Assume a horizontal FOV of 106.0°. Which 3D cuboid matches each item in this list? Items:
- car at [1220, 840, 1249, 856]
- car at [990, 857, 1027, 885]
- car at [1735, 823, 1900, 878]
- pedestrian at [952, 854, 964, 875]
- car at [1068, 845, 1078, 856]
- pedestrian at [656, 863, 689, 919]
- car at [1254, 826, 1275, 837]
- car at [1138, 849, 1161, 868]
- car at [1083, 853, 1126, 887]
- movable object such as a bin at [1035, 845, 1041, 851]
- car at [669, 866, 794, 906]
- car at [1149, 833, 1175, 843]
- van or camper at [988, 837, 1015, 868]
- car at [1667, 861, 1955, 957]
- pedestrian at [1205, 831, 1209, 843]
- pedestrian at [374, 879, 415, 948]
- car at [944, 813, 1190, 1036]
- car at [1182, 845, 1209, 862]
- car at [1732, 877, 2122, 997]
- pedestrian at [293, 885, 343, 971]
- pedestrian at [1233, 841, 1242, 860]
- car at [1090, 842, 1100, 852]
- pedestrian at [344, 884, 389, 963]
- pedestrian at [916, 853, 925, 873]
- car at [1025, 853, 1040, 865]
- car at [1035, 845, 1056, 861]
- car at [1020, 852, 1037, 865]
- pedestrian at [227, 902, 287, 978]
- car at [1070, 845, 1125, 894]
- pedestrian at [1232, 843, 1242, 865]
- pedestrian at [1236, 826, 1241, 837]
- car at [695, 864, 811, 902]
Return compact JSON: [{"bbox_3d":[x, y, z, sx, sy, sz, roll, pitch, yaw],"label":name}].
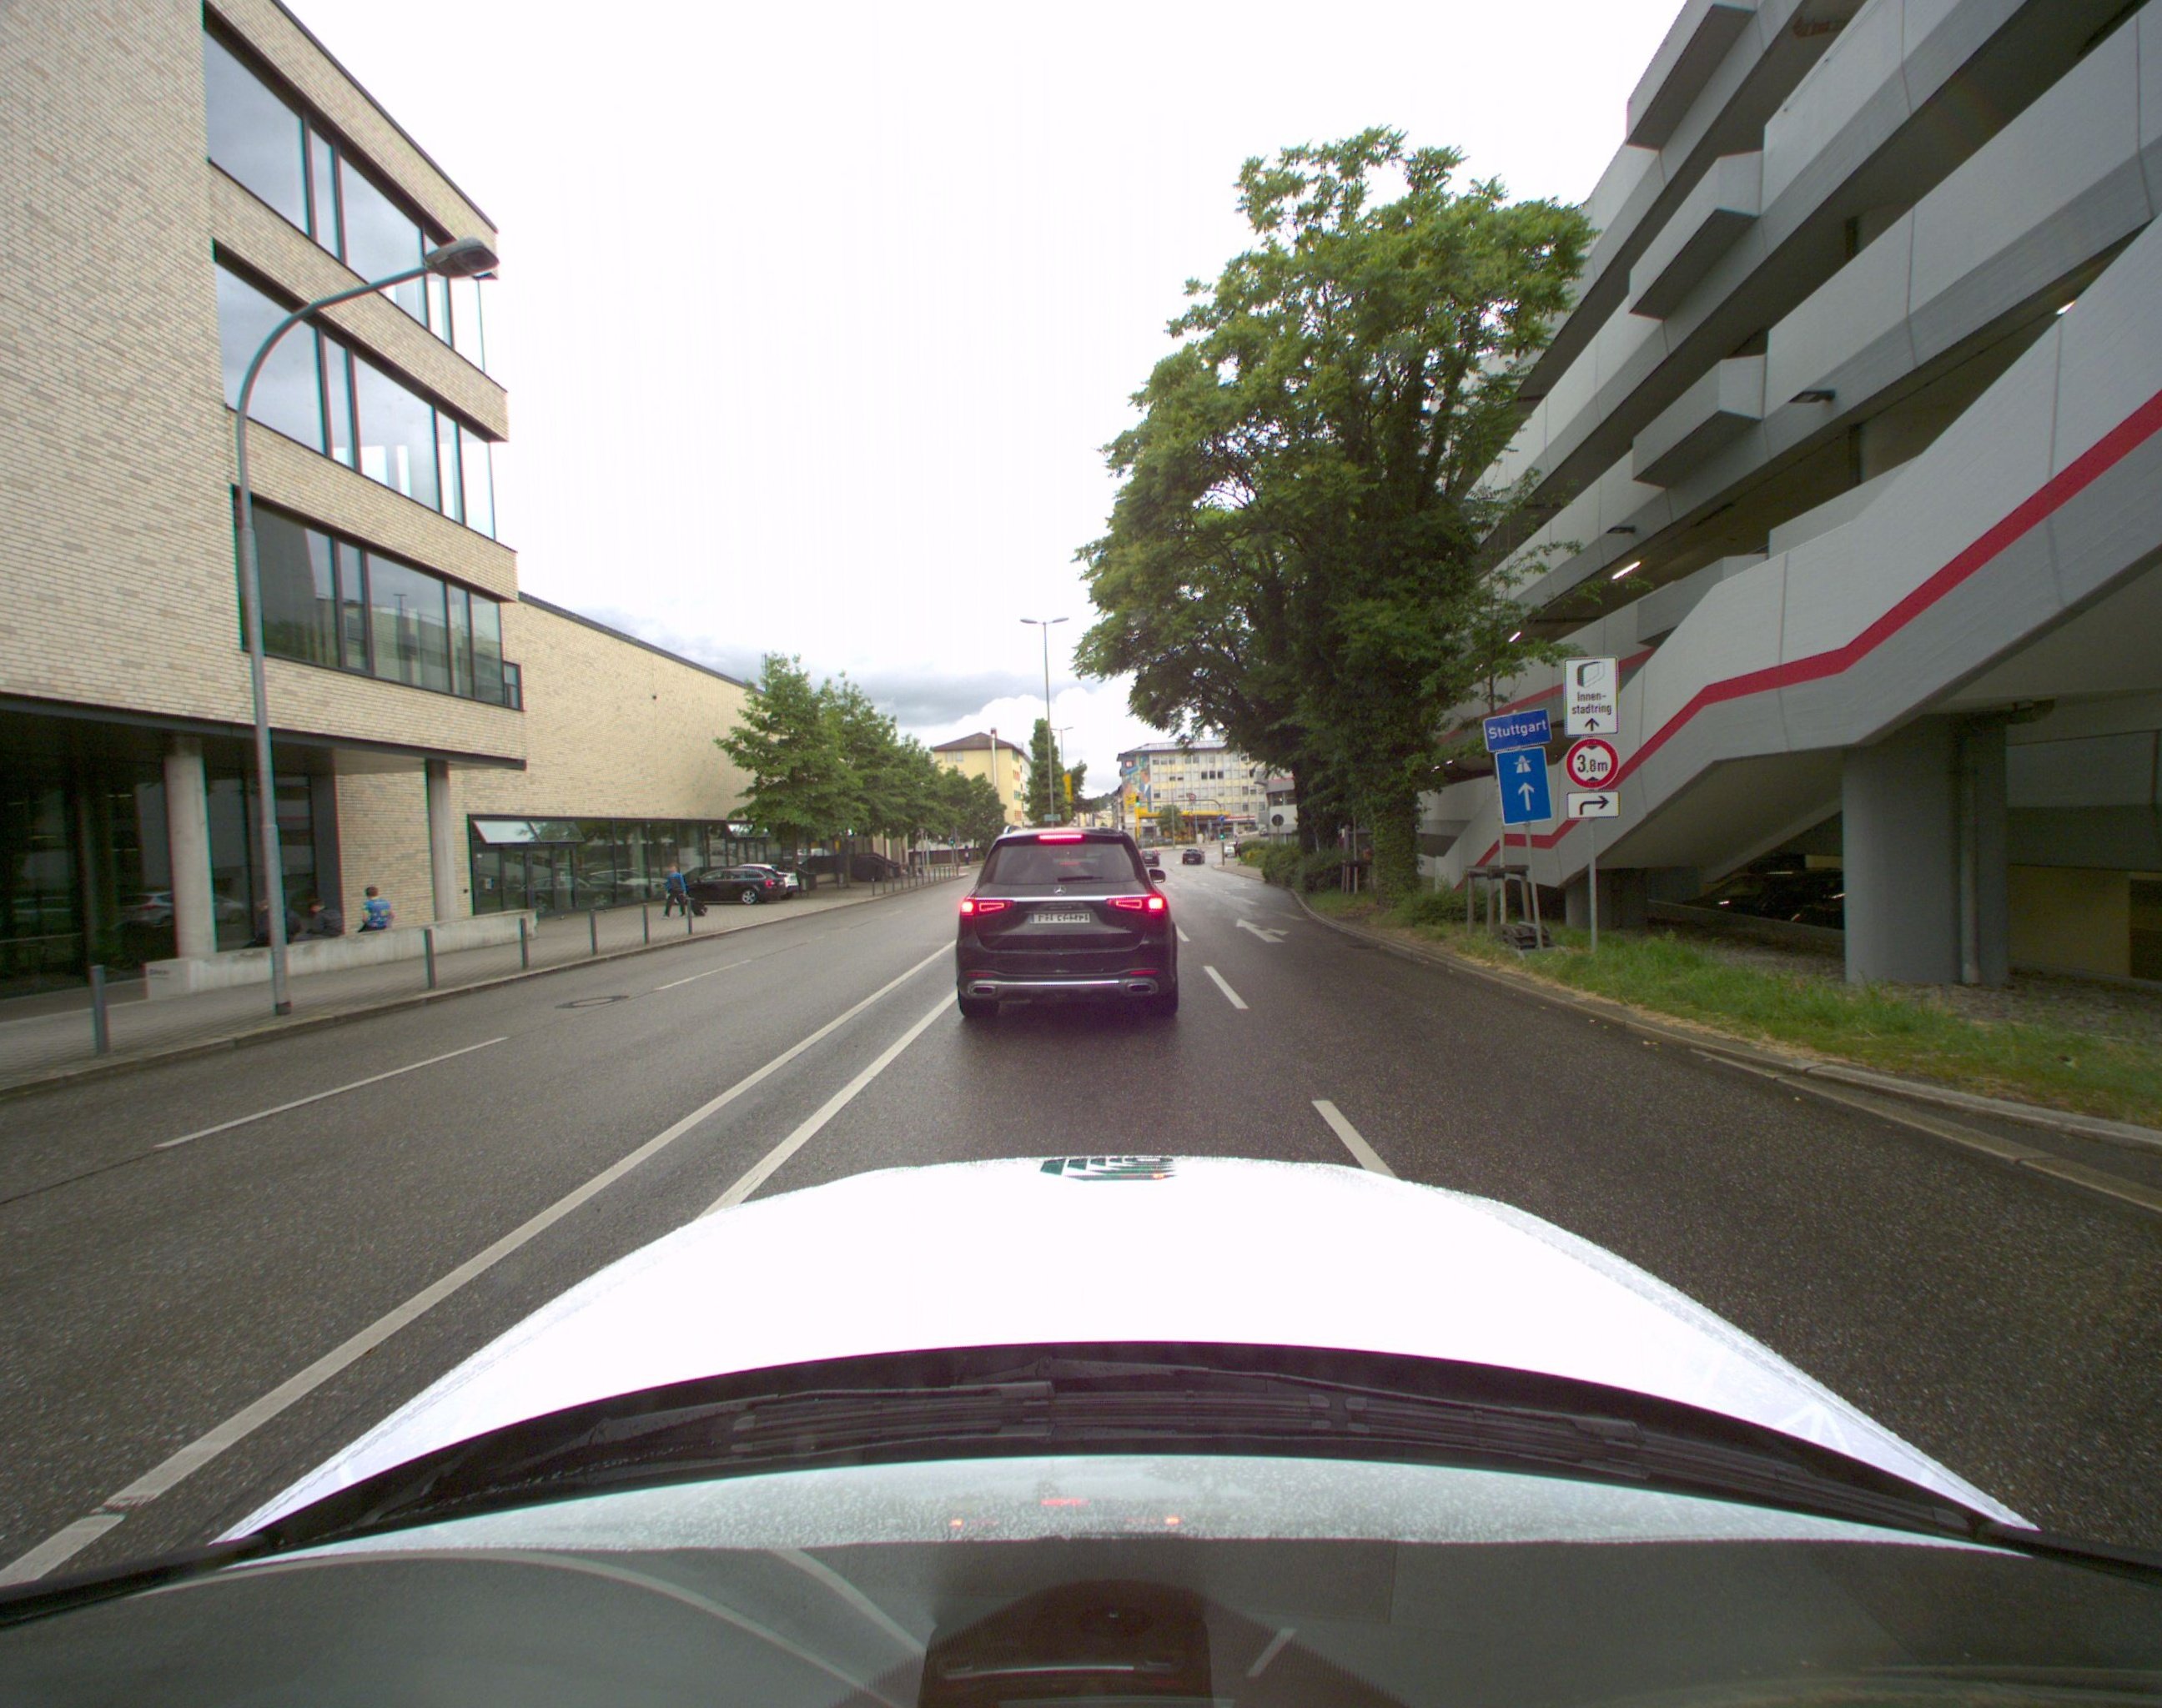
[{"bbox_3d":[16.282,-0.606,86.185,1.737,1.549,4.025,-1,-1,30],"label":"car"},{"bbox_3d":[-4.263,0.972,48.457,1.735,1.470,3.882,-4,0,0],"label":"car"},{"bbox_3d":[26.174,-0.113,29.096,3.958,1.783,1.823,-2,0,14],"label":"car"},{"bbox_3d":[-10.254,0.878,67.993,0.948,1.704,0.709,0,-1,-16],"label":"pedestrian"},{"bbox_3d":[-1.439,-0.637,147.042,1.862,1.839,3.819,0,-1,0],"label":"car"},{"bbox_3d":[-12.891,1.156,25.709,0.632,1.714,0.705,0,-1,4],"label":"pedestrian"},{"bbox_3d":[31.139,-3.809,137.885,1.974,1.705,4.026,-2,1,35],"label":"car"},{"bbox_3d":[5.842,0.330,69.227,1.787,1.525,4.063,0,1,6],"label":"car"},{"bbox_3d":[1.109,0.710,38.203,1.900,1.501,4.001,0,0,2],"label":"car"},{"bbox_3d":[-7.459,-1.068,141.515,0.906,1.038,0.844,0,-1,2],"label":"movable object such as a bin"},{"bbox_3d":[-13.974,1.253,32.776,4.169,1.495,1.997,0,-1,-5],"label":"car"},{"bbox_3d":[12.777,-2.516,128.486,1.747,1.376,3.952,-4,1,-42],"label":"car"},{"bbox_3d":[-7.267,-0.102,74.859,2.098,2.582,5.900,-4,0,-4],"label":"van or camper"},{"bbox_3d":[13.671,1.012,15.480,3.713,1.540,1.815,-1,3,7],"label":"car"},{"bbox_3d":[18.584,-2.541,120.063,0.570,1.697,0.631,0,-1,3],"label":"pedestrian"},{"bbox_3d":[-15.038,1.297,17.842,0.440,1.475,0.528,0,-1,-3],"label":"pedestrian"},{"bbox_3d":[-0.053,0.587,8.609,1.986,1.800,4.001,0,-1,2],"label":"car"},{"bbox_3d":[10.417,0.000,74.149,1.931,1.486,4.016,-1,-1,15],"label":"car"},{"bbox_3d":[12.936,1.240,12.717,3.966,1.624,1.842,-1,0,6],"label":"car"},{"bbox_3d":[-13.534,1.306,14.458,0.448,1.475,0.463,0,-1,-4],"label":"pedestrian"},{"bbox_3d":[14.493,-0.338,75.509,0.716,1.690,0.455,0,-1,-5],"label":"pedestrian"},{"bbox_3d":[3.061,-1.524,180.393,1.985,2.014,4.003,0,-1,3],"label":"car"},{"bbox_3d":[-13.697,1.327,15.627,0.448,1.475,0.463,0,-1,-4],"label":"pedestrian"},{"bbox_3d":[-13.850,0.772,70.225,0.641,1.665,1.017,0,-1,-4],"label":"pedestrian"},{"bbox_3d":[-6.736,0.681,113.981,1.900,1.703,3.998,0,-1,-1],"label":"car"},{"bbox_3d":[-3.667,-0.110,84.326,1.877,1.498,4.560,-4,0,-1],"label":"car"},{"bbox_3d":[-6.519,0.556,101.375,1.792,1.495,3.802,0,-1,-1],"label":"car"},{"bbox_3d":[-13.569,1.408,13.417,0.546,1.215,0.422,0,-1,4],"label":"pedestrian"},{"bbox_3d":[0.678,0.581,31.829,1.986,1.800,4.001,0,-1,2],"label":"car"},{"bbox_3d":[12.501,-0.008,65.225,0.639,1.710,0.474,-2,-1,38],"label":"pedestrian"},{"bbox_3d":[26.315,-3.738,136.331,0.521,1.727,0.693,-2,1,28],"label":"pedestrian"},{"bbox_3d":[-14.071,1.231,35.083,4.158,1.547,2.002,0,-1,3],"label":"car"}]
